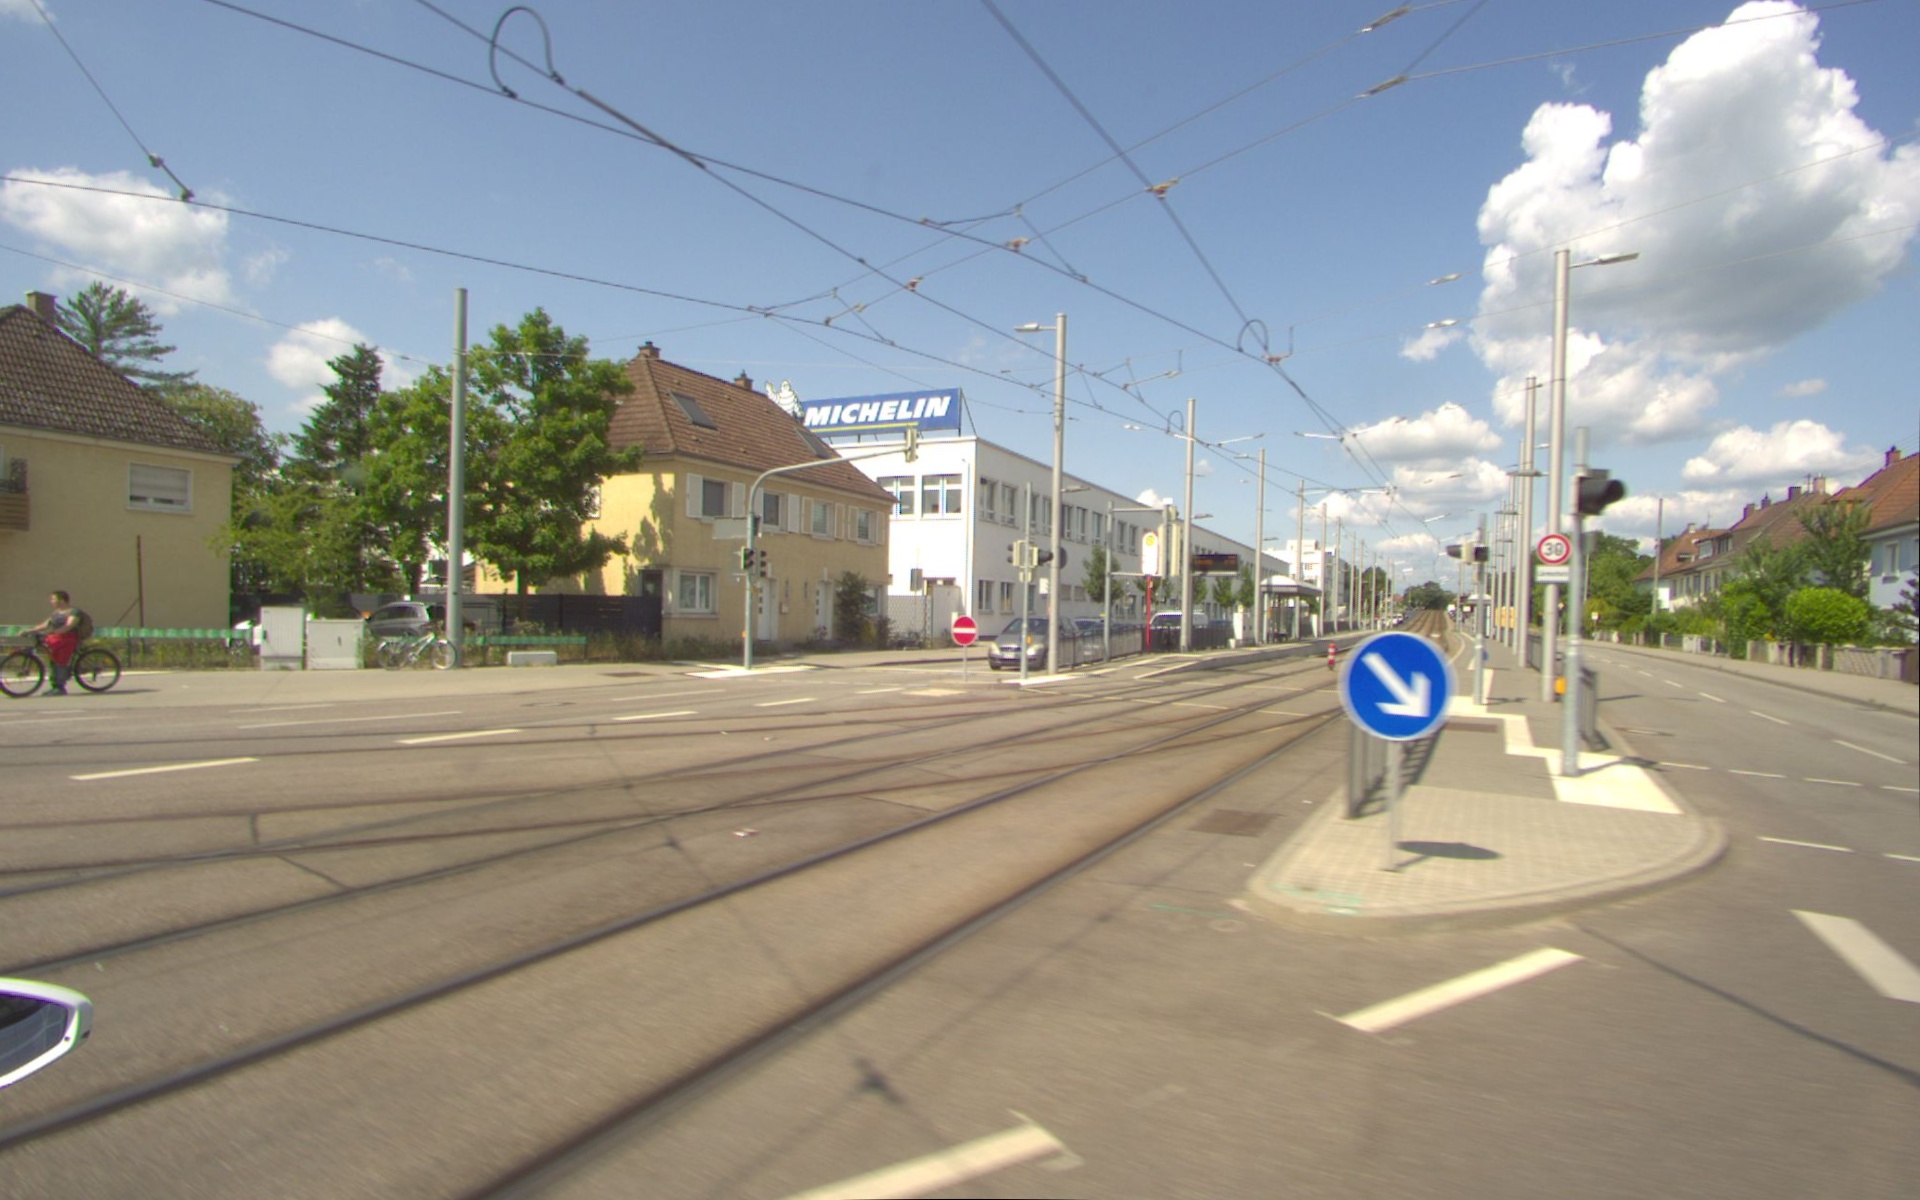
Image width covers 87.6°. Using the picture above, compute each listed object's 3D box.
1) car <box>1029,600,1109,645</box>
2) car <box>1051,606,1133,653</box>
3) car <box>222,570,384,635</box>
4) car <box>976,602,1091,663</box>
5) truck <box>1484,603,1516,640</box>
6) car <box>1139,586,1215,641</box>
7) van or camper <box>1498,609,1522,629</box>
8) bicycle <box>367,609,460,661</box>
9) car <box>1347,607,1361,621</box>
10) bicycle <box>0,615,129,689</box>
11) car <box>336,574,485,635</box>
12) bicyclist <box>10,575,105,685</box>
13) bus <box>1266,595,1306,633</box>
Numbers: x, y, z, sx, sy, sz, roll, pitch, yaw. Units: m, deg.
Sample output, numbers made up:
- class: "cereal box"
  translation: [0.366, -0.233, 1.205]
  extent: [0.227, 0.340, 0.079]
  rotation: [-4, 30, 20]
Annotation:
- class: "car"
  translation: [4.676, 0.946, 42.517]
  extent: [1.909, 1.715, 3.983]
  rotation: [3, 1, 30]
- class: "car"
  translation: [4.689, 1.011, 35.234]
  extent: [1.552, 1.465, 3.706]
  rotation: [3, 1, 30]
- class: "car"
  translation: [-18.112, 0.043, 27.609]
  extent: [3.931, 1.642, 1.823]
  rotation: [1, 0, 22]
- class: "car"
  translation: [2.256, 0.922, 29.746]
  extent: [1.814, 1.589, 3.983]
  rotation: [3, 1, 30]
- class: "truck"
  translation: [54.200, 2.163, 100.551]
  extent: [2.151, 3.450, 7.212]
  rotation: [3, 0, 24]
- class: "car"
  translation: [9.571, 0.596, 43.867]
  extent: [1.786, 2.188, 4.827]
  rotation: [3, 1, 29]
- class: "van or camper"
  translation: [95.530, 3.328, 173.971]
  extent: [2.958, 3.251, 7.103]
  rotation: [3, 0, 26]
- class: "bicycle"
  translation: [-12.711, 0.825, 23.332]
  extent: [1.778, 1.120, 0.700]
  rotation: [2, 1, -20]
- class: "car"
  translation: [65.411, 2.323, 166.239]
  extent: [1.967, 2.040, 3.989]
  rotation: [3, 0, 25]
- class: "bicycle"
  translation: [-15.438, 0.850, 17.087]
  extent: [0.701, 1.116, 2.033]
  rotation: [2, 1, 5]
- class: "car"
  translation: [-16.345, 0.117, 29.818]
  extent: [3.931, 1.642, 1.823]
  rotation: [1, 0, 22]
- class: "bicyclist"
  translation: [-15.422, 0.504, 17.126]
  extent: [0.705, 1.799, 0.960]
  rotation: [2, 1, 6]
- class: "bus"
  translation: [28.984, 1.242, 88.967]
  extent: [2.467, 3.163, 6.634]
  rotation: [3, 1, 25]
